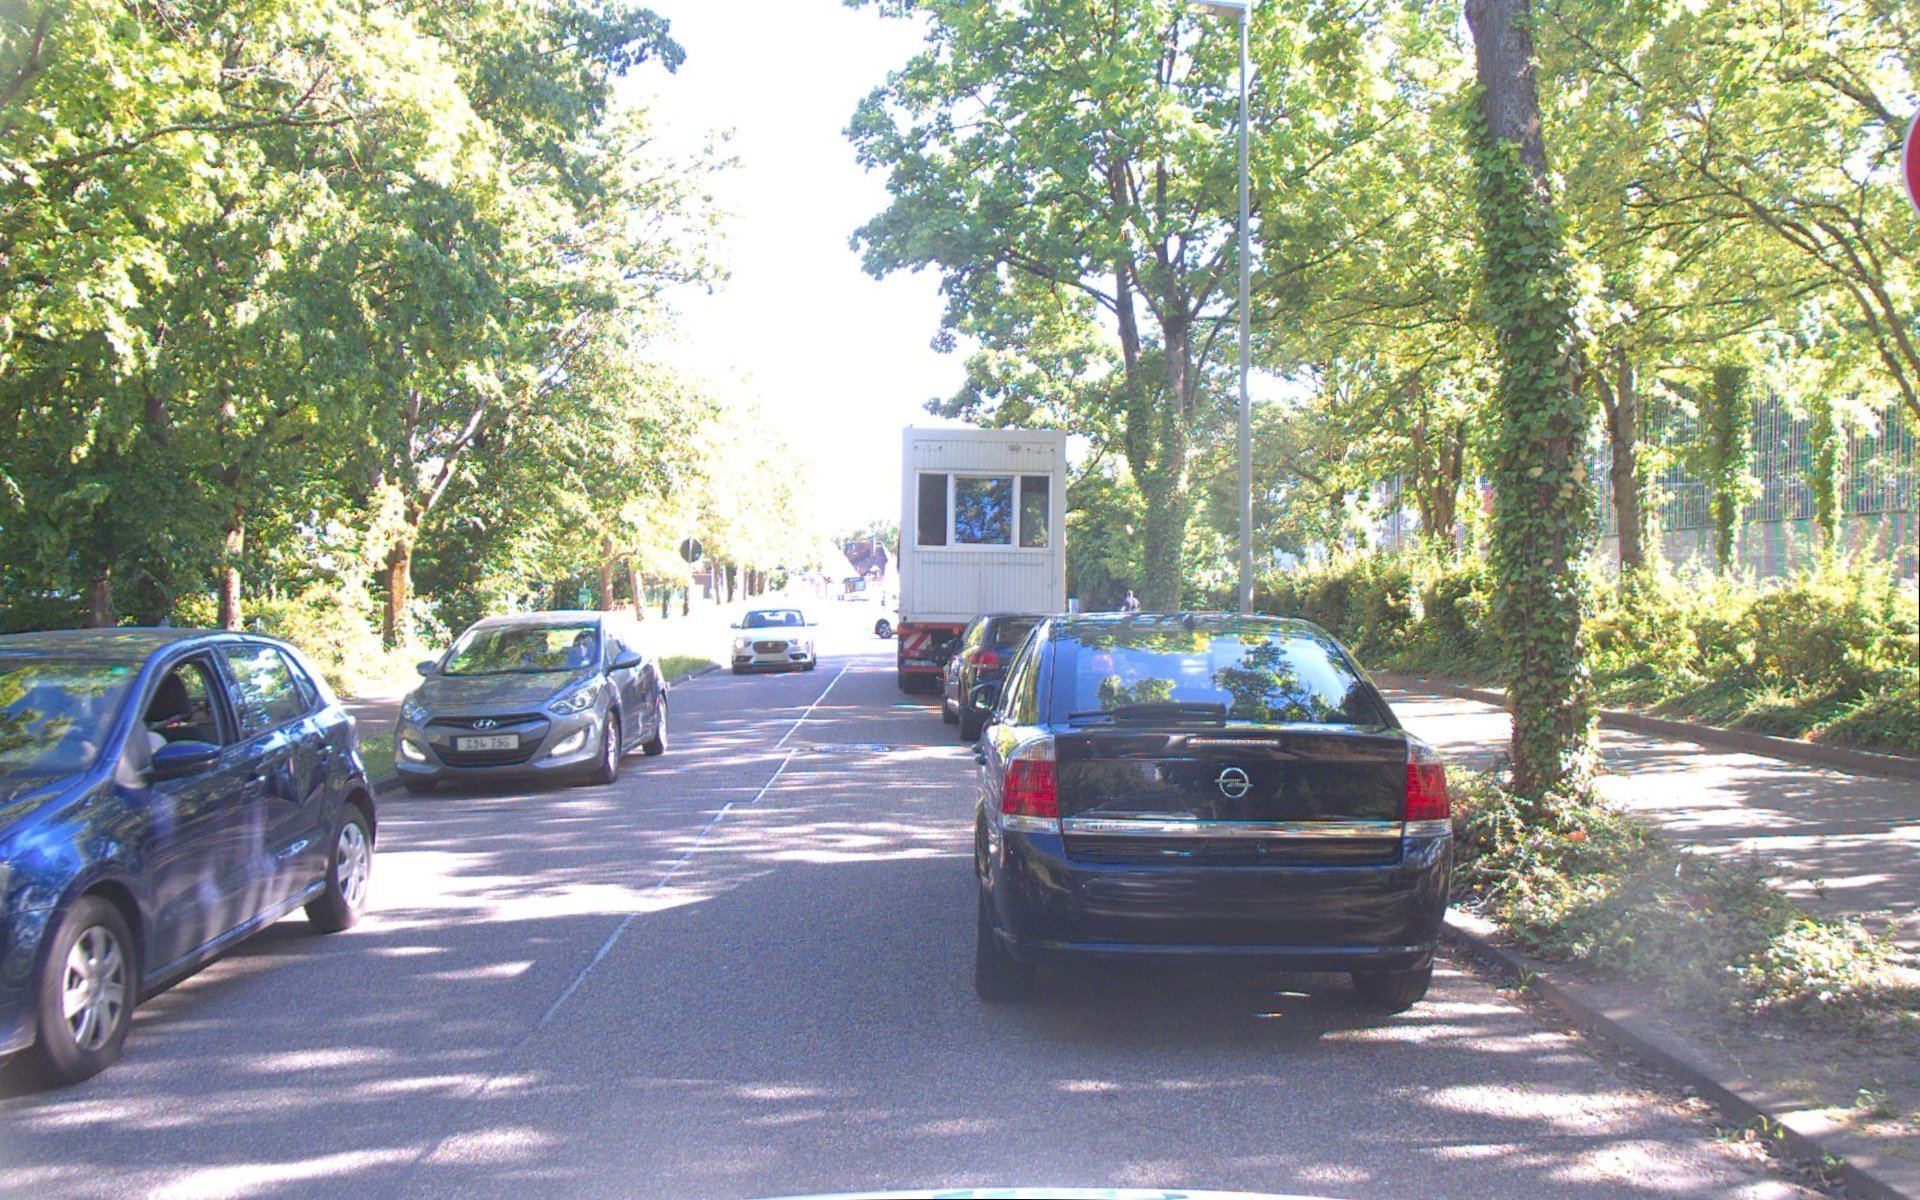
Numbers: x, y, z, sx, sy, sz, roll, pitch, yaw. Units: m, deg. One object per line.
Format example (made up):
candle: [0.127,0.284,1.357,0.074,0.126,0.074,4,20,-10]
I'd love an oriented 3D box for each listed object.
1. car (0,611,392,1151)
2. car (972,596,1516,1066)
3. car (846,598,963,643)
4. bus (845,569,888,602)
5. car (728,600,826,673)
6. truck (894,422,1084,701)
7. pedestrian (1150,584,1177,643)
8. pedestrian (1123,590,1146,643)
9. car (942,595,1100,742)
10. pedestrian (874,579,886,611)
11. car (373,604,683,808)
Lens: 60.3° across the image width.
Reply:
car: [-3.541,0.826,6.257,1.568,1.451,3.651,-2,1,-2]
car: [0.930,0.752,7.329,1.712,1.506,4.030,0,0,0]
car: [-1.972,0.721,57.931,3.887,1.445,1.802,-2,0,41]
bus: [-10.333,-1.591,184.036,3.982,3.407,9.801,-2,1,0]
car: [-4.095,0.784,37.482,1.750,1.441,4.104,-2,1,-1]
truck: [0.225,-0.601,29.473,2.717,4.065,10.343,1,0,-2]
pedestrian: [6.478,0.414,52.612,0.684,1.844,0.699,-2,0,-5]
pedestrian: [5.548,0.519,52.563,0.586,1.639,0.599,-2,0,-5]
car: [0.647,0.712,19.282,1.606,1.445,4.000,-2,0,0]
pedestrian: [-5.350,-0.343,110.502,0.737,2.150,0.799,1,0,1]
car: [-3.759,0.841,15.167,1.720,1.479,4.242,-2,1,-1]
